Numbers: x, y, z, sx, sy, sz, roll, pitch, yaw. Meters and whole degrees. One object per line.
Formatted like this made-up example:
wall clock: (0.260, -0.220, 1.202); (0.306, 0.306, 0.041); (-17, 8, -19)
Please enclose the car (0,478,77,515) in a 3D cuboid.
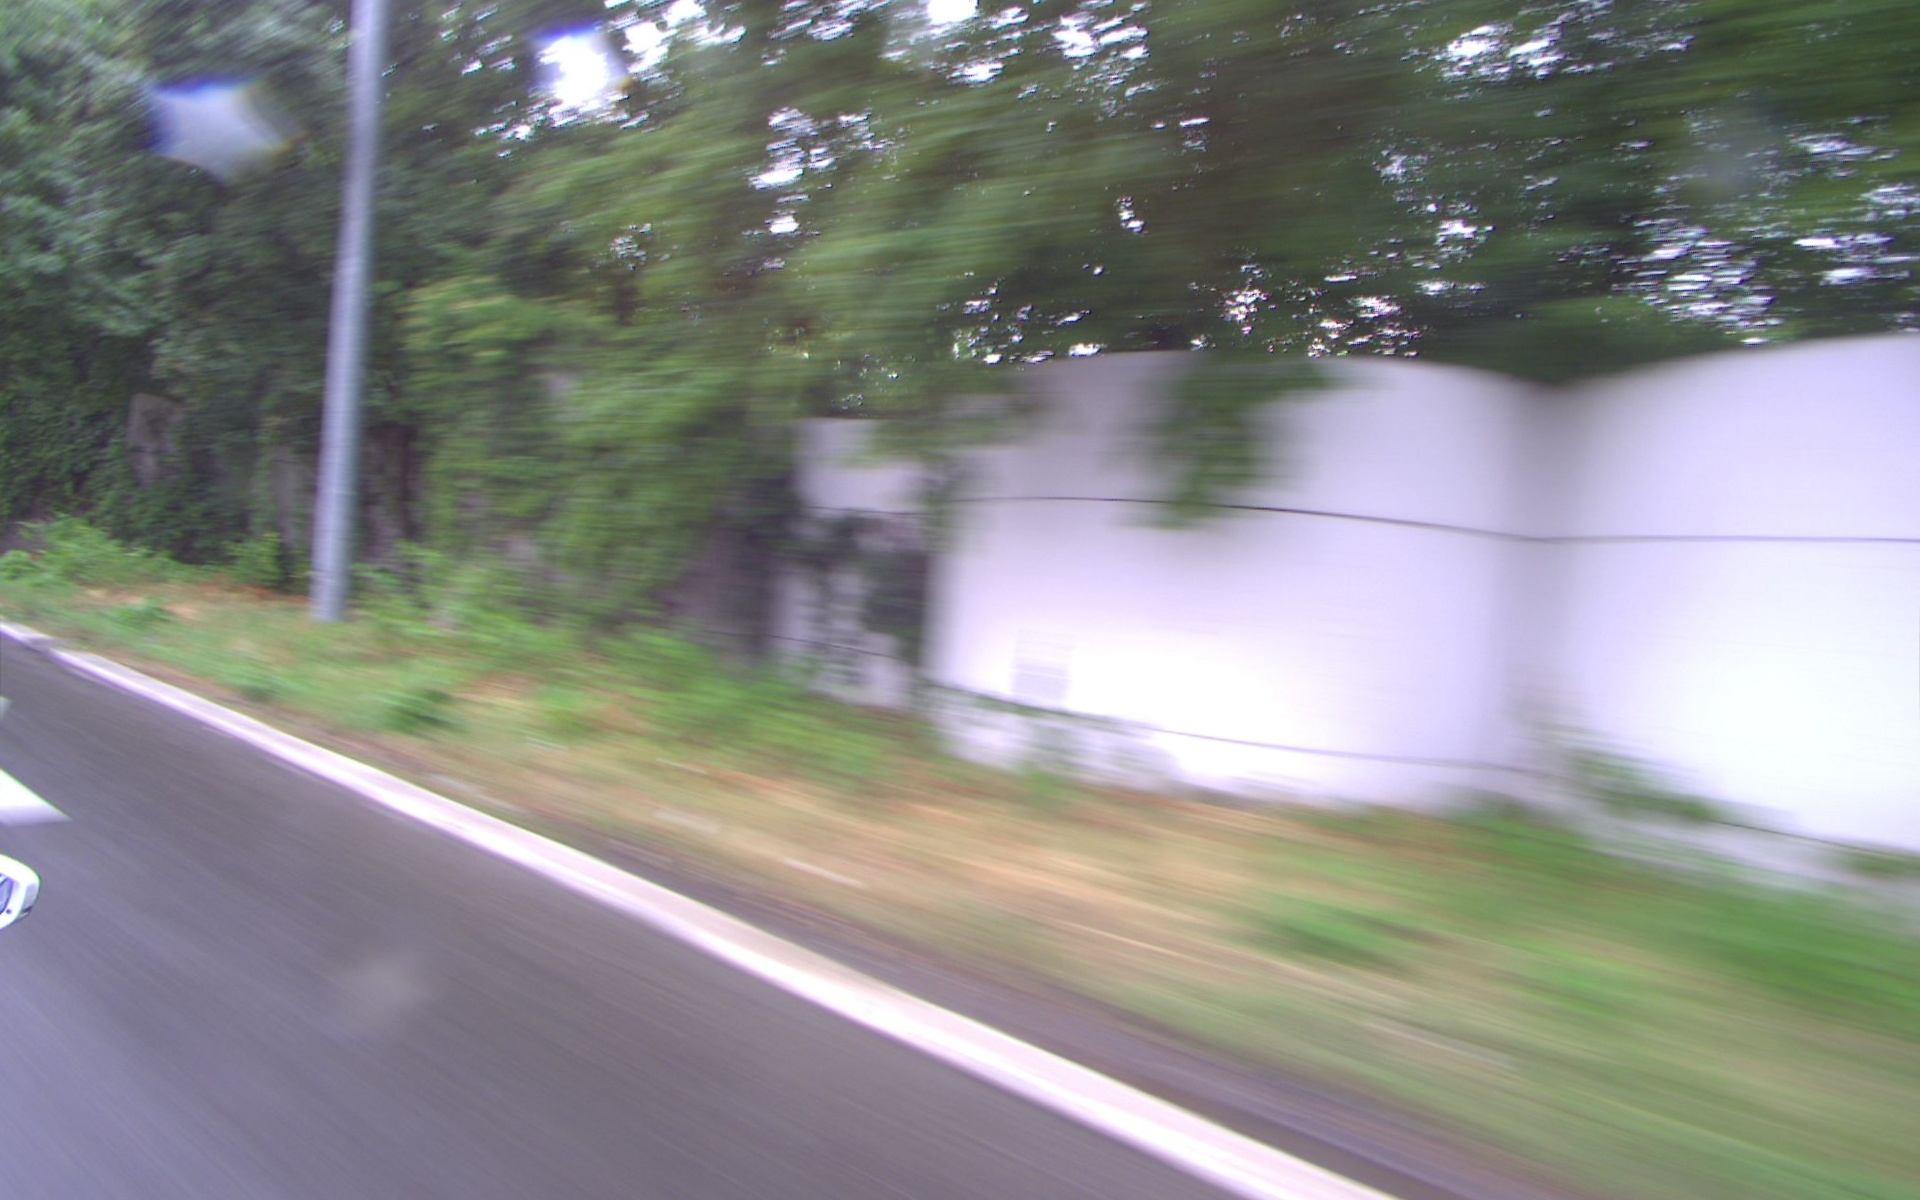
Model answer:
car: (-50.164, -5.627, 53.778); (1.843, 1.504, 4.000); (6, 0, 16)
